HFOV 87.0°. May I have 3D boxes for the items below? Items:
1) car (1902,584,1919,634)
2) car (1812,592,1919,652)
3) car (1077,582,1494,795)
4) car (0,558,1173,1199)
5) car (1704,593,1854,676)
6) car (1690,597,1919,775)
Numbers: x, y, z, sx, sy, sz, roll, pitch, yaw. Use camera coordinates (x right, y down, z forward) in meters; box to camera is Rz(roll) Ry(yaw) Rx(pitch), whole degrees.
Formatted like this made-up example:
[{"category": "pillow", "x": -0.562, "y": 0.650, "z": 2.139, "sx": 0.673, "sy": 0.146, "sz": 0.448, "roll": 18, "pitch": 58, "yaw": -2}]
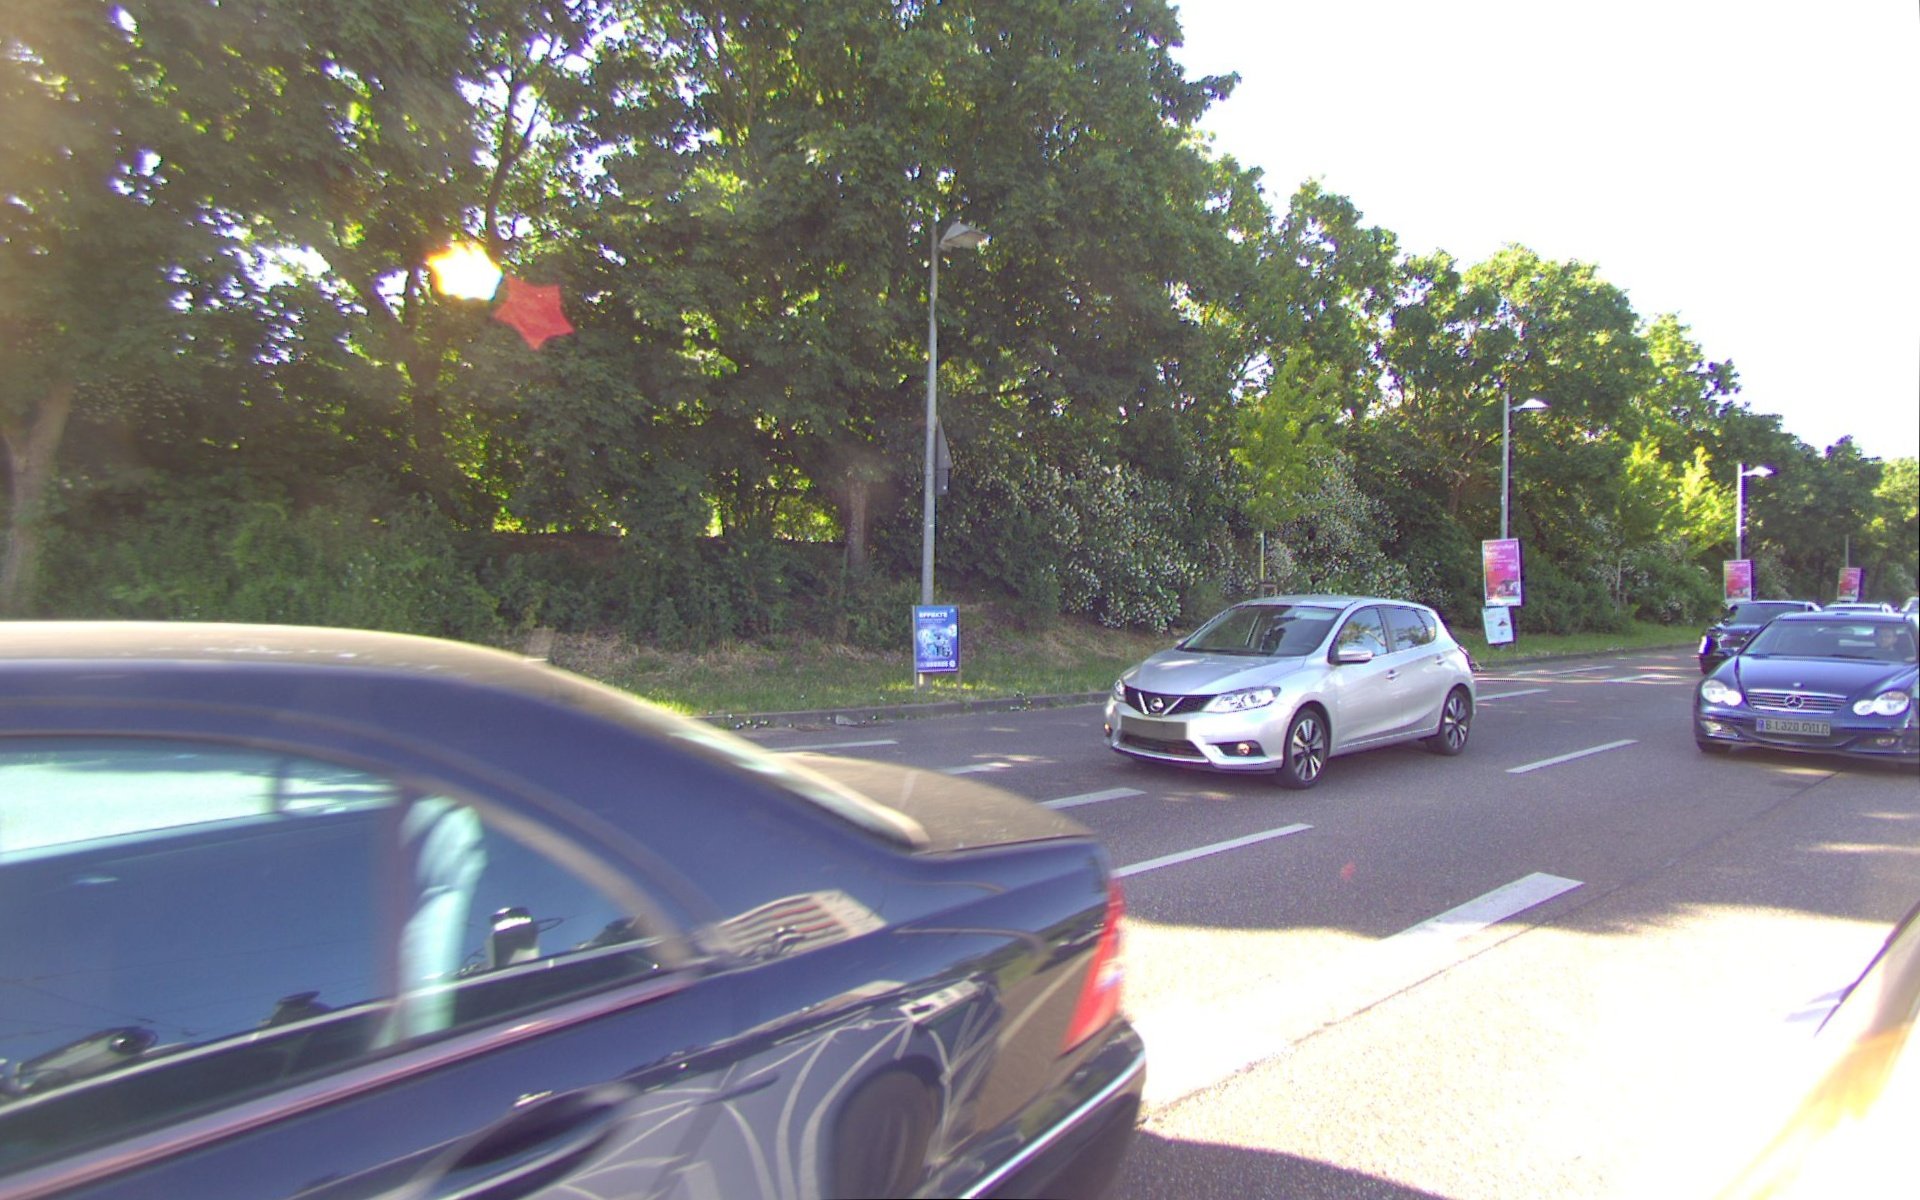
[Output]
[{"category": "car", "x": 34.208, "y": 0.309, "z": 35.156, "sx": 3.930, "sy": 1.682, "sz": 1.748, "roll": 0, "pitch": 1, "yaw": -41}, {"category": "car", "x": 24.158, "y": 0.525, "z": 26.782, "sx": 4.309, "sy": 1.454, "sz": 1.748, "roll": -1, "pitch": 1, "yaw": -40}, {"category": "car", "x": 3.107, "y": 0.635, "z": 9.280, "sx": 4.063, "sy": 1.536, "sz": 1.725, "roll": 0, "pitch": 0, "yaw": -39}, {"category": "car", "x": -1.697, "y": 0.676, "z": 1.161, "sx": 4.126, "sy": 1.472, "sz": 1.715, "roll": 0, "pitch": 1, "yaw": -43}, {"category": "car", "x": 16.824, "y": 0.628, "z": 20.726, "sx": 3.894, "sy": 1.512, "sz": 1.713, "roll": 0, "pitch": 1, "yaw": -40}, {"category": "car", "x": 8.949, "y": 0.703, "z": 10.188, "sx": 3.979, "sy": 1.437, "sz": 1.722, "roll": 0, "pitch": 1, "yaw": -41}]
